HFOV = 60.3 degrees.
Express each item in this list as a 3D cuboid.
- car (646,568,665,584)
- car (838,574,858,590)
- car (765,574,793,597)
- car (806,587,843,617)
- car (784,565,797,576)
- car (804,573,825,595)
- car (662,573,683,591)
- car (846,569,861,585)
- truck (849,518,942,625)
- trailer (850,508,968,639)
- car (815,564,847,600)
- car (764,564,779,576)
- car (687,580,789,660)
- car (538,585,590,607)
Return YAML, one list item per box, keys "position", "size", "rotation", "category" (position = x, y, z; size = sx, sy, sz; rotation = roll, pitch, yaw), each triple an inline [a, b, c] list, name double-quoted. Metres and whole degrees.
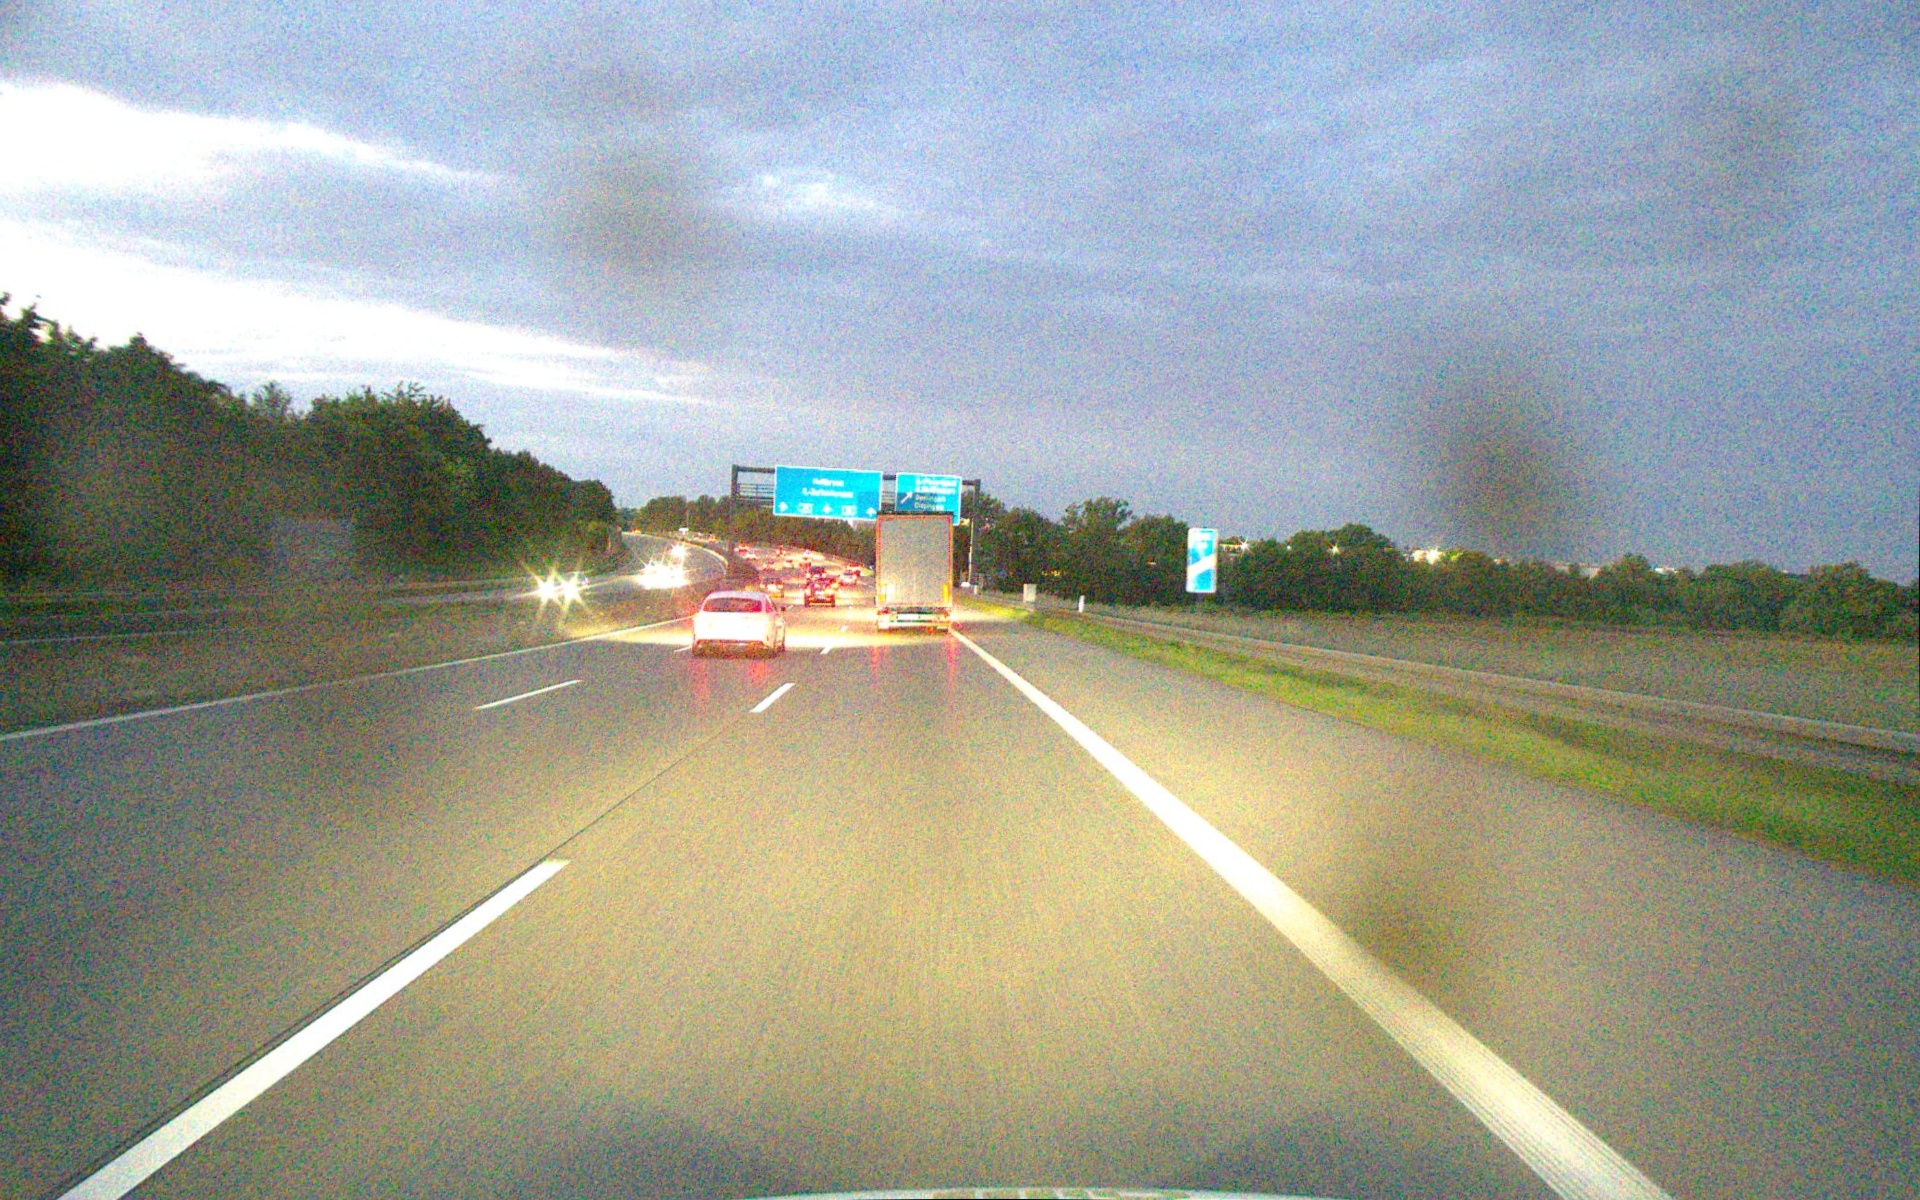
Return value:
- position: [-38.997, -3.104, 211.802]
  size: [1.955, 1.926, 4.673]
  rotation: [2, -1, -5]
  category: "car"
- position: [-11.816, -1.856, 174.686]
  size: [1.954, 1.561, 3.998]
  rotation: [2, -1, -3]
  category: "car"
- position: [-13.368, -1.049, 122.123]
  size: [1.726, 1.602, 4.574]
  rotation: [2, 0, -3]
  category: "car"
- position: [-8.093, 0.128, 99.134]
  size: [2.024, 1.715, 4.573]
  rotation: [2, 0, -3]
  category: "car"
- position: [-26.722, -4.630, 260.200]
  size: [1.955, 1.650, 3.995]
  rotation: [2, -1, -6]
  category: "car"
- position: [-14.906, -1.630, 169.448]
  size: [1.954, 2.049, 3.997]
  rotation: [2, -1, -4]
  category: "car"
- position: [-32.456, -2.044, 186.805]
  size: [1.838, 1.926, 5.054]
  rotation: [2, 0, -4]
  category: "car"
- position: [-14.381, -3.092, 223.725]
  size: [1.954, 2.013, 3.996]
  rotation: [2, -1, -4]
  category: "car"
- position: [-2.687, -1.172, 67.219]
  size: [3.481, 4.162, 6.146]
  rotation: [0, 1, -5]
  category: "truck"
- position: [-2.126, -1.023, 60.401]
  size: [3.481, 4.188, 15.049]
  rotation: [0, 1, -5]
  category: "trailer"
- position: [-9.262, -1.269, 118.586]
  size: [1.957, 2.422, 3.991]
  rotation: [2, -1, -9]
  category: "car"
- position: [-28.055, -4.417, 246.540]
  size: [1.954, 1.650, 3.998]
  rotation: [2, -1, -3]
  category: "car"
- position: [-4.979, 0.441, 37.632]
  size: [1.868, 1.642, 4.800]
  rotation: [2, 0, -3]
  category: "car"
- position: [-23.421, -0.218, 98.080]
  size: [2.018, 1.247, 5.231]
  rotation: [2, 0, -3]
  category: "car"
